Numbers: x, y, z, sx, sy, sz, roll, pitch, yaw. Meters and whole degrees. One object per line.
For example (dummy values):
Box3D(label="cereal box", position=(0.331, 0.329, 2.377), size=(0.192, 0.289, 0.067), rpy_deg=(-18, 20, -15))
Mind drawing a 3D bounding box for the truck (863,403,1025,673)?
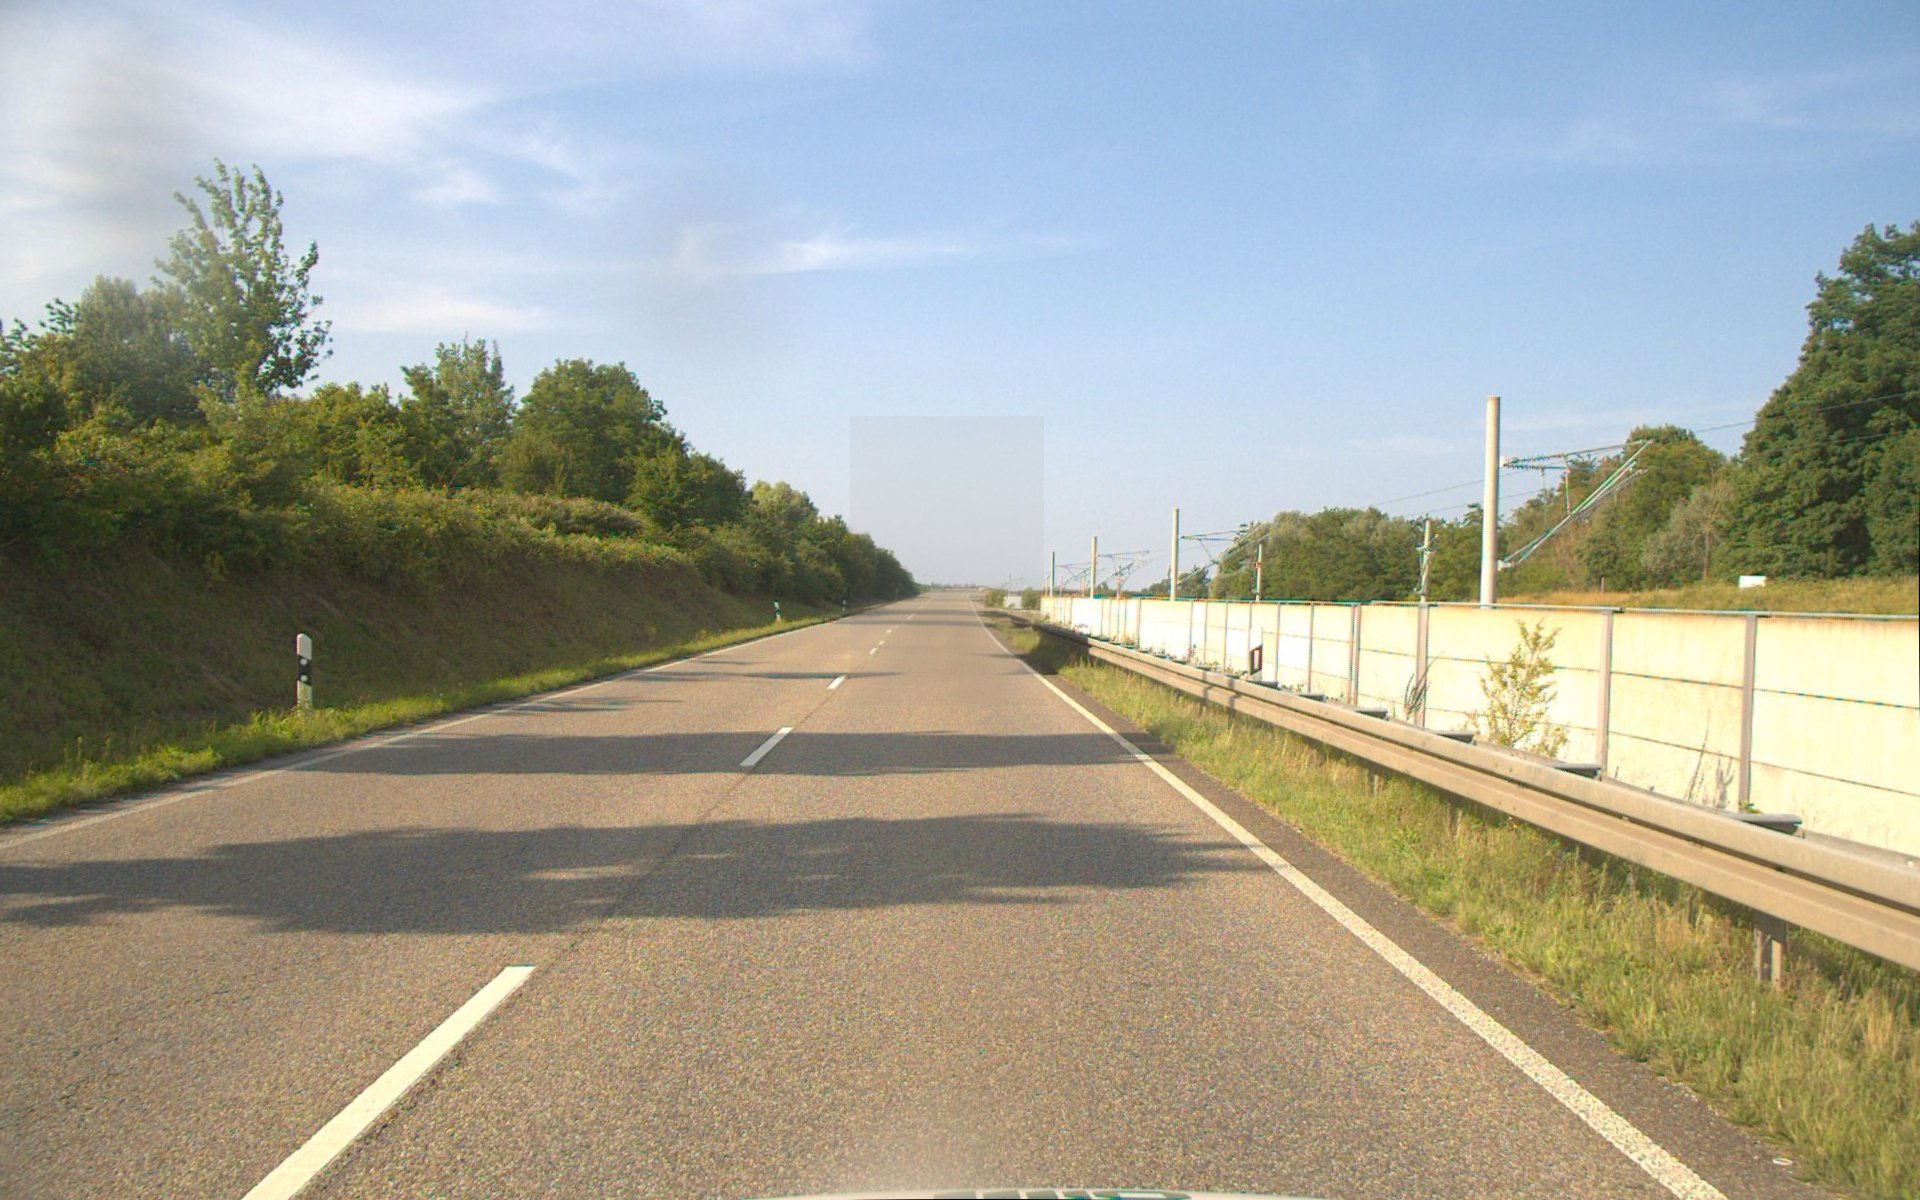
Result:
Box3D(label="truck", position=(-0.508, -1.194, 36.824), size=(2.972, 5.006, 11.679), rpy_deg=(1, 0, -2))
